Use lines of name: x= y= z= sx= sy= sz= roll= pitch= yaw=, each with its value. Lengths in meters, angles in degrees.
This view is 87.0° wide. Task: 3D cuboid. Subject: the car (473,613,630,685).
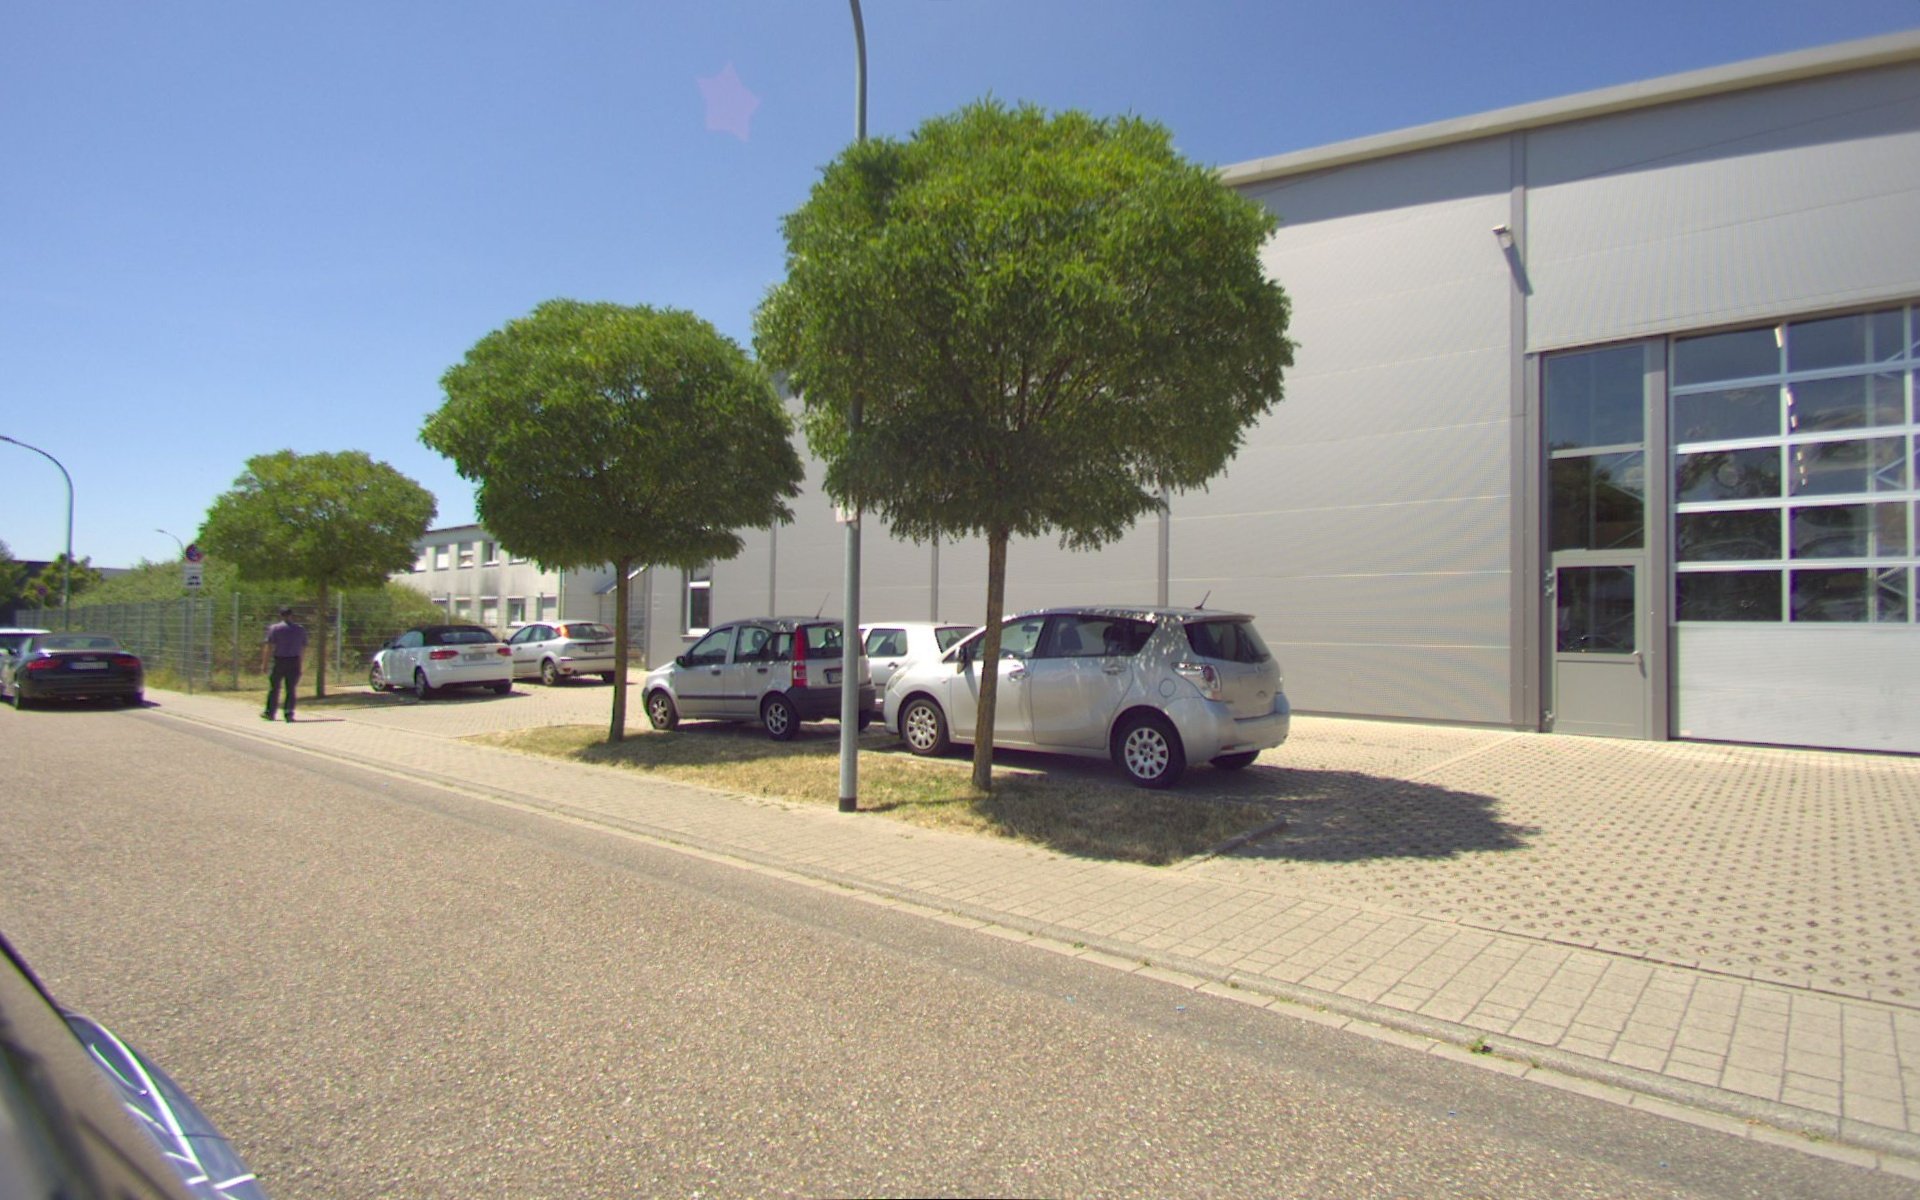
car: x=-9.638 y=1.082 z=23.700 sx=4.259 sy=1.511 sz=1.804 roll=-1 pitch=-1 yaw=43

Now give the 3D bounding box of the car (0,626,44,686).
car: x=-25.808 y=1.429 z=26.775 sx=4.518 sy=1.511 sz=1.805 roll=-1 pitch=-3 yaw=42

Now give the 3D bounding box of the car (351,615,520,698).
car: x=-10.966 y=1.093 z=21.016 sx=4.328 sy=1.511 sz=1.804 roll=-1 pitch=-1 yaw=43

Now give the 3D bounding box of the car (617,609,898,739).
car: x=-2.775 y=0.909 z=13.571 sx=3.698 sy=1.511 sz=1.667 roll=-1 pitch=-2 yaw=37

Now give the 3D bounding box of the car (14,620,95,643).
car: x=-66.460 y=2.301 z=74.313 sx=1.779 sy=1.613 sz=4.225 roll=-1 pitch=-1 yaw=40

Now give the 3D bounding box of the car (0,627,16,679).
car: x=-29.909 y=1.552 z=30.419 sx=4.518 sy=1.511 sz=1.805 roll=-1 pitch=-3 yaw=42

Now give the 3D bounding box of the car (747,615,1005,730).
car: x=-1.318 y=0.996 z=15.191 sx=3.698 sy=1.511 sz=1.667 roll=-1 pitch=-1 yaw=37

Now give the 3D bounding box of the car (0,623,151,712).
car: x=-17.199 y=1.225 z=19.434 sx=4.524 sy=1.511 sz=1.805 roll=-1 pitch=-3 yaw=41

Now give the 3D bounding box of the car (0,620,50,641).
car: x=-72.721 y=2.352 z=77.651 sx=1.779 sy=1.579 sz=4.116 roll=-1 pitch=-2 yaw=40

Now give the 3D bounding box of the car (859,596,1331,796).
car: x=1.157 y=0.795 z=10.217 sx=4.538 sy=1.585 sz=1.747 roll=-1 pitch=-1 yaw=42

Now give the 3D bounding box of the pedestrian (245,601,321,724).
pedestrian: x=-10.508 y=0.938 z=15.699 sx=1.135 sy=1.815 sz=0.736 roll=-1 pitch=-1 yaw=43

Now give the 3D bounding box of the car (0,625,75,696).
car: x=-21.799 y=1.325 z=23.139 sx=4.257 sy=1.511 sz=1.805 roll=-1 pitch=-3 yaw=42
